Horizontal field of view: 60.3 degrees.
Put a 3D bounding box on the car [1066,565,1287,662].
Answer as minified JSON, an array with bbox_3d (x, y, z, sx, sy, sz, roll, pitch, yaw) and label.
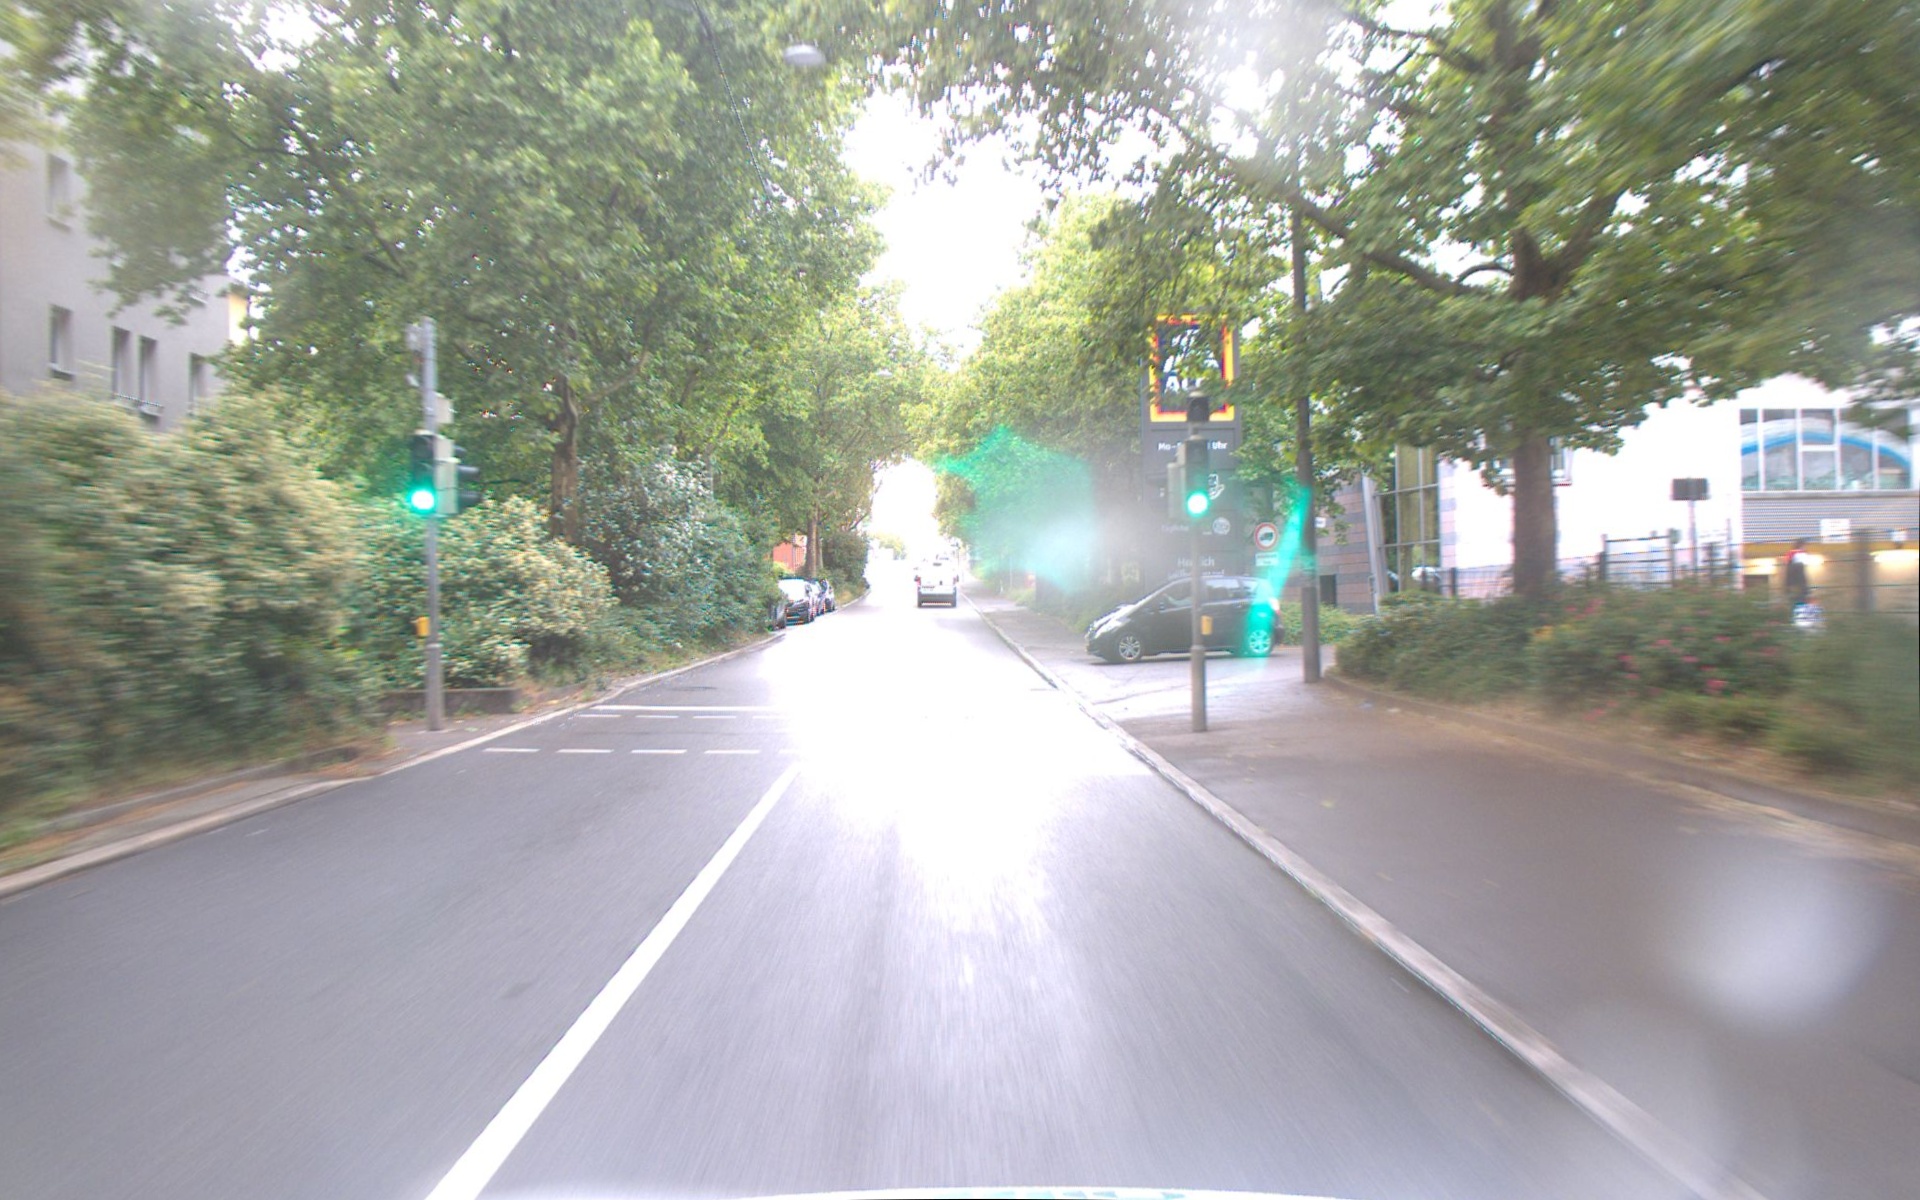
[{"bbox_3d":[4.122,0.243,31.885,3.776,1.574,2.023,-4,1,-7],"label":"car"}]

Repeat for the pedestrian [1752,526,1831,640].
[{"bbox_3d":[13.936,-0.280,27.733,0.812,1.860,0.960,-1,-1,3],"label":"pedestrian"}]

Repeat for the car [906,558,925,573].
[{"bbox_3d":[-5.839,-4.543,216.338,2.114,1.739,3.874,1,-1,3],"label":"car"}]

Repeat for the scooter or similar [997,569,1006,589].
[{"bbox_3d":[2.555,-1.267,101.040,0.417,1.162,1.528,1,-1,-3],"label":"scooter or similar"}]

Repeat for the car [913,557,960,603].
[{"bbox_3d":[-1.189,-1.001,85.402,2.288,2.270,4.000,-2,0,0],"label":"car"}]

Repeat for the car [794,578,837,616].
[{"bbox_3d":[-6.649,-0.169,76.339,1.615,1.564,4.017,-5,1,-1],"label":"car"}]

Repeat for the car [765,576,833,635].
[{"bbox_3d":[-5.305,0.141,55.019,1.699,1.686,4.565,-5,1,0],"label":"car"}]

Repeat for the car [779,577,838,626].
[{"bbox_3d":[-5.474,0.027,60.191,1.827,1.618,4.237,-3,1,-3],"label":"car"}]

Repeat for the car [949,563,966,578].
[{"bbox_3d":[-0.353,-3.764,208.596,1.890,1.739,3.874,1,-1,3],"label":"car"}]
